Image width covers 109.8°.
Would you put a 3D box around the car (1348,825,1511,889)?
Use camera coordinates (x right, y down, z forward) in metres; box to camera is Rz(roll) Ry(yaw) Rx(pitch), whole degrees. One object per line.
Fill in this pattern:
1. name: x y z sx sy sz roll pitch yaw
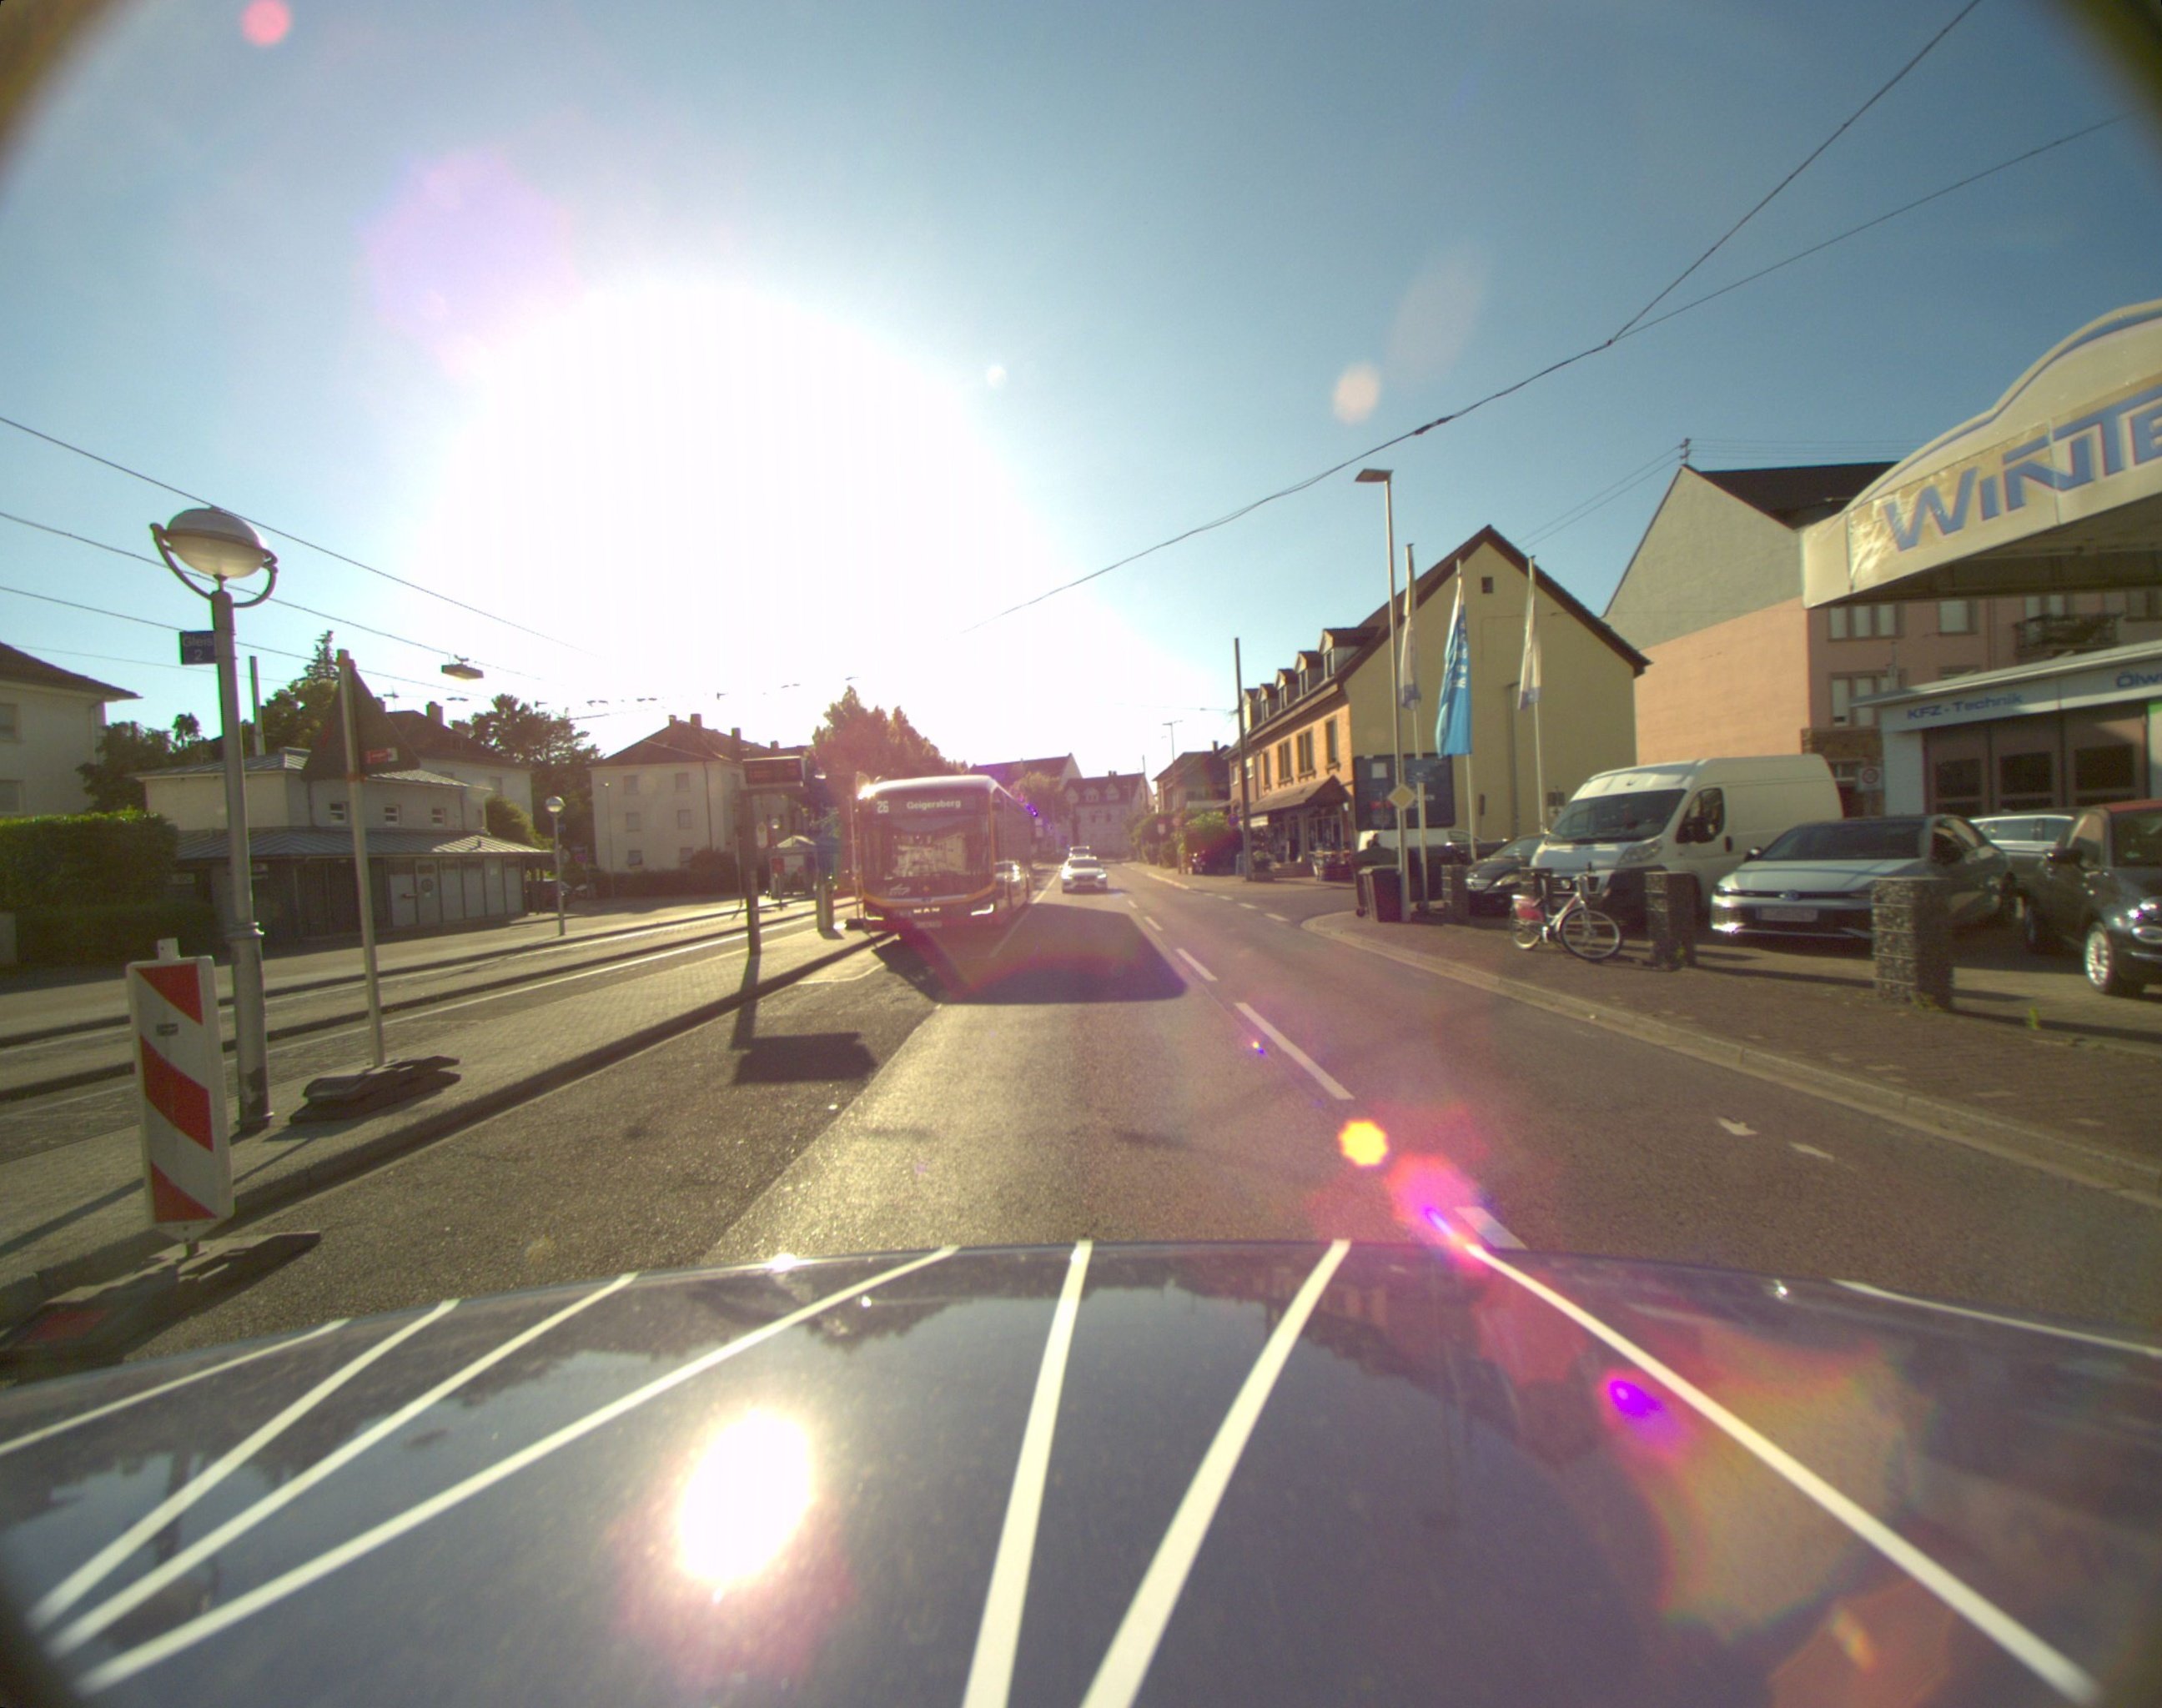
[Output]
1. car: 11.871 0.084 26.096 4.627 1.922 1.999 -3 1 -2

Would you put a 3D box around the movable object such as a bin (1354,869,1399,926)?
1. movable object such as a bin: 5.869 0.856 15.106 0.661 1.056 0.585 -5 -1 12

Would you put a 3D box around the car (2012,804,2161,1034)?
1. car: 9.108 0.383 6.102 1.617 1.559 3.400 -2 1 43

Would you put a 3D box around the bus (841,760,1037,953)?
1. bus: -2.917 0.016 19.835 2.695 3.396 12.017 -3 0 0

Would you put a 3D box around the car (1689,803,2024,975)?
1. car: 9.360 0.304 9.123 4.005 1.559 1.769 -4 0 -29

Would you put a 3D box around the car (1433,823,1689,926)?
1. car: 9.049 0.348 14.428 4.001 1.559 1.771 -4 0 -14

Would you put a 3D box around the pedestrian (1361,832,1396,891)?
1. pedestrian: 9.712 0.241 24.832 0.794 1.857 0.820 -3 1 2

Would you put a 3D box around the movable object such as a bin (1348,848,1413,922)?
1. movable object such as a bin: 6.376 0.663 16.150 1.055 1.473 1.315 -4 -3 28

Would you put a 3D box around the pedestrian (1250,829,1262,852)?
1. pedestrian: 9.558 -0.728 41.562 0.524 1.251 0.465 -3 1 1

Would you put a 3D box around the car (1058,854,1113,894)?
1. car: 0.265 0.797 32.160 1.998 1.454 4.450 -3 0 4

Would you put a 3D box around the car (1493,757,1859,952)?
1. car: 9.180 -0.095 11.732 5.076 2.455 2.105 -4 1 -22

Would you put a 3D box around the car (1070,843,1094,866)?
1. car: 0.057 0.038 68.059 1.871 1.922 4.791 -4 0 -2

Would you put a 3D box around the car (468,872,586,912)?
1. car: -27.719 1.895 38.126 4.448 1.759 2.000 -2 1 4

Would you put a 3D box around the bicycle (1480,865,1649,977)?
1. bicycle: 5.878 0.759 9.369 0.725 1.171 1.779 -3 1 -9

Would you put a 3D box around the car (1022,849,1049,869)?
1. car: -3.973 0.450 67.139 1.998 1.664 4.000 -2 0 1

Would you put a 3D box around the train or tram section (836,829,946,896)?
1. train or tram section: -11.665 0.238 48.971 2.965 3.514 15.964 -2 2 0

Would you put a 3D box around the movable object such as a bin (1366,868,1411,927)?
1. movable object such as a bin: 5.854 0.826 14.486 0.641 1.063 0.581 -3 -2 12

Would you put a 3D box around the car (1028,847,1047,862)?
1. car: -5.464 0.061 95.264 1.998 1.664 4.000 -2 0 1

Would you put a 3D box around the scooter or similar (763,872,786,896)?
1. scooter or similar: -16.275 1.570 40.320 0.467 1.201 1.210 -2 1 11

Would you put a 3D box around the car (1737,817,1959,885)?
1. car: 20.802 -0.134 20.764 3.997 1.517 1.998 -3 5 0

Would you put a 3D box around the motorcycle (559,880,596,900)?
1. motorcycle: -31.098 2.219 46.912 1.826 1.155 0.558 -3 1 -3

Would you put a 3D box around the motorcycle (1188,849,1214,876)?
1. motorcycle: 6.317 0.430 40.195 0.841 1.275 2.231 -4 1 -3

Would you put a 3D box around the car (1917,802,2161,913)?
1. car: 16.356 0.015 11.852 1.772 1.559 4.315 -4 0 -1
